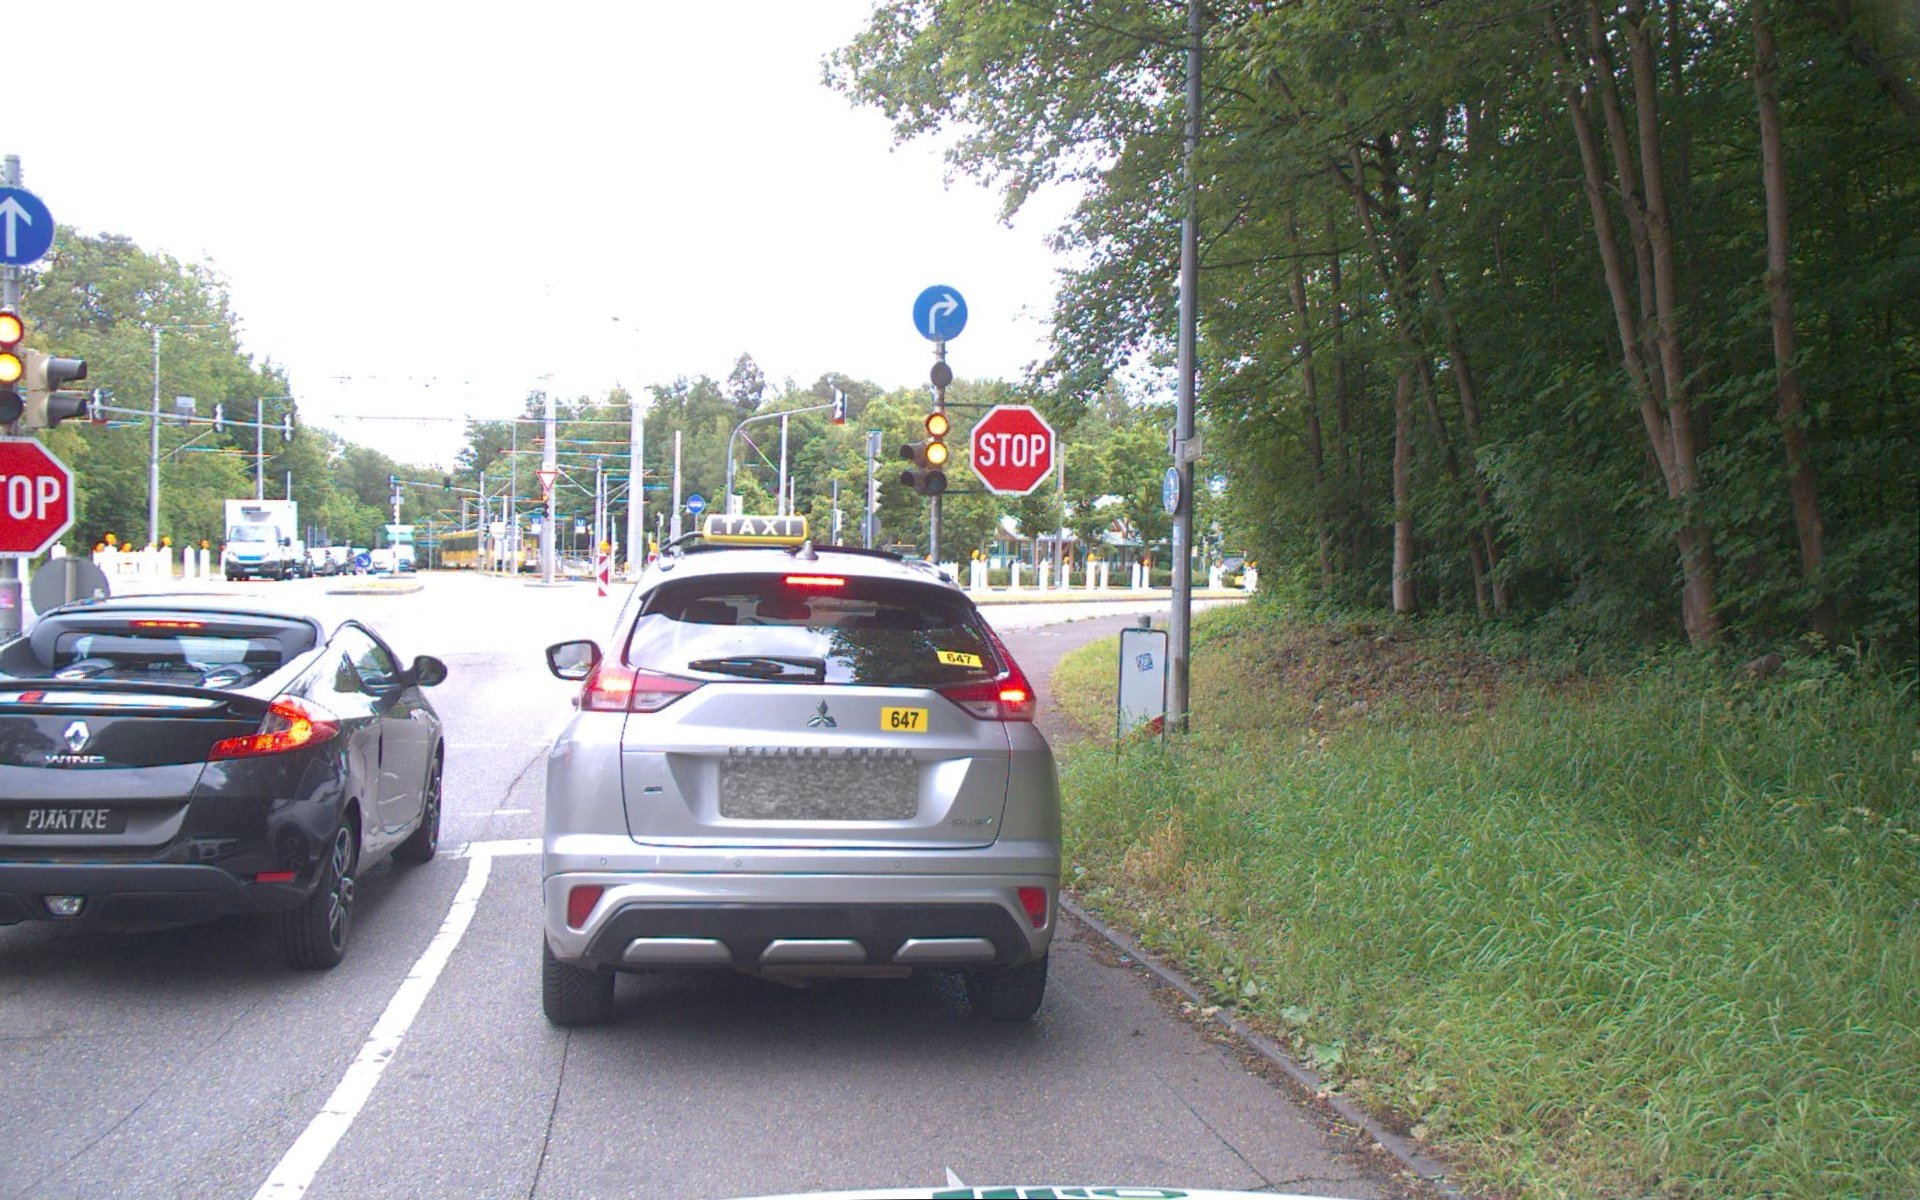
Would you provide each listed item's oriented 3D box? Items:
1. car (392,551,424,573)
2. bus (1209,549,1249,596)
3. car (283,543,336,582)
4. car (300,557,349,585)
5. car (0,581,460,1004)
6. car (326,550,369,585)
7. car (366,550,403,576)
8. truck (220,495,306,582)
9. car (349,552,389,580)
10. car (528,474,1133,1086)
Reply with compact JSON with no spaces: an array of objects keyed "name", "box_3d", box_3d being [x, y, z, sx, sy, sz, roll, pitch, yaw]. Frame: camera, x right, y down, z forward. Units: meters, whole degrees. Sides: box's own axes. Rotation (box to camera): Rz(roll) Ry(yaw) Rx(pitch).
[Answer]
[{"name":"car","box_3d":[-39.851,-2.772,119.443,1.930,1.567,4.292,1,1,-16]},{"name":"bus","box_3d":[22.029,-2.312,135.939,2.761,3.665,12.815,1,2,7]},{"name":"car","box_3d":[-30.866,-1.805,78.546,1.931,1.780,4.824,1,1,-17]},{"name":"car","box_3d":[-33.136,-1.554,86.333,1.930,1.385,4.670,1,1,-16]},{"name":"car","box_3d":[-3.303,0.628,7.302,1.742,1.385,3.467,0,1,-11]},{"name":"car","box_3d":[-34.980,-1.878,94.513,1.930,1.877,4.670,1,1,-16]},{"name":"car","box_3d":[-36.962,-2.395,106.272,1.930,1.568,4.378,1,1,-16]},{"name":"truck","box_3d":[-27.995,-2.419,66.654,2.409,3.280,7.123,0,1,-17]},{"name":"car","box_3d":[-35.905,-2.101,100.561,1.930,1.635,4.292,1,1,-16]},{"name":"car","box_3d":[-0.652,0.518,6.811,1.741,1.778,3.773,2,1,-9]}]
